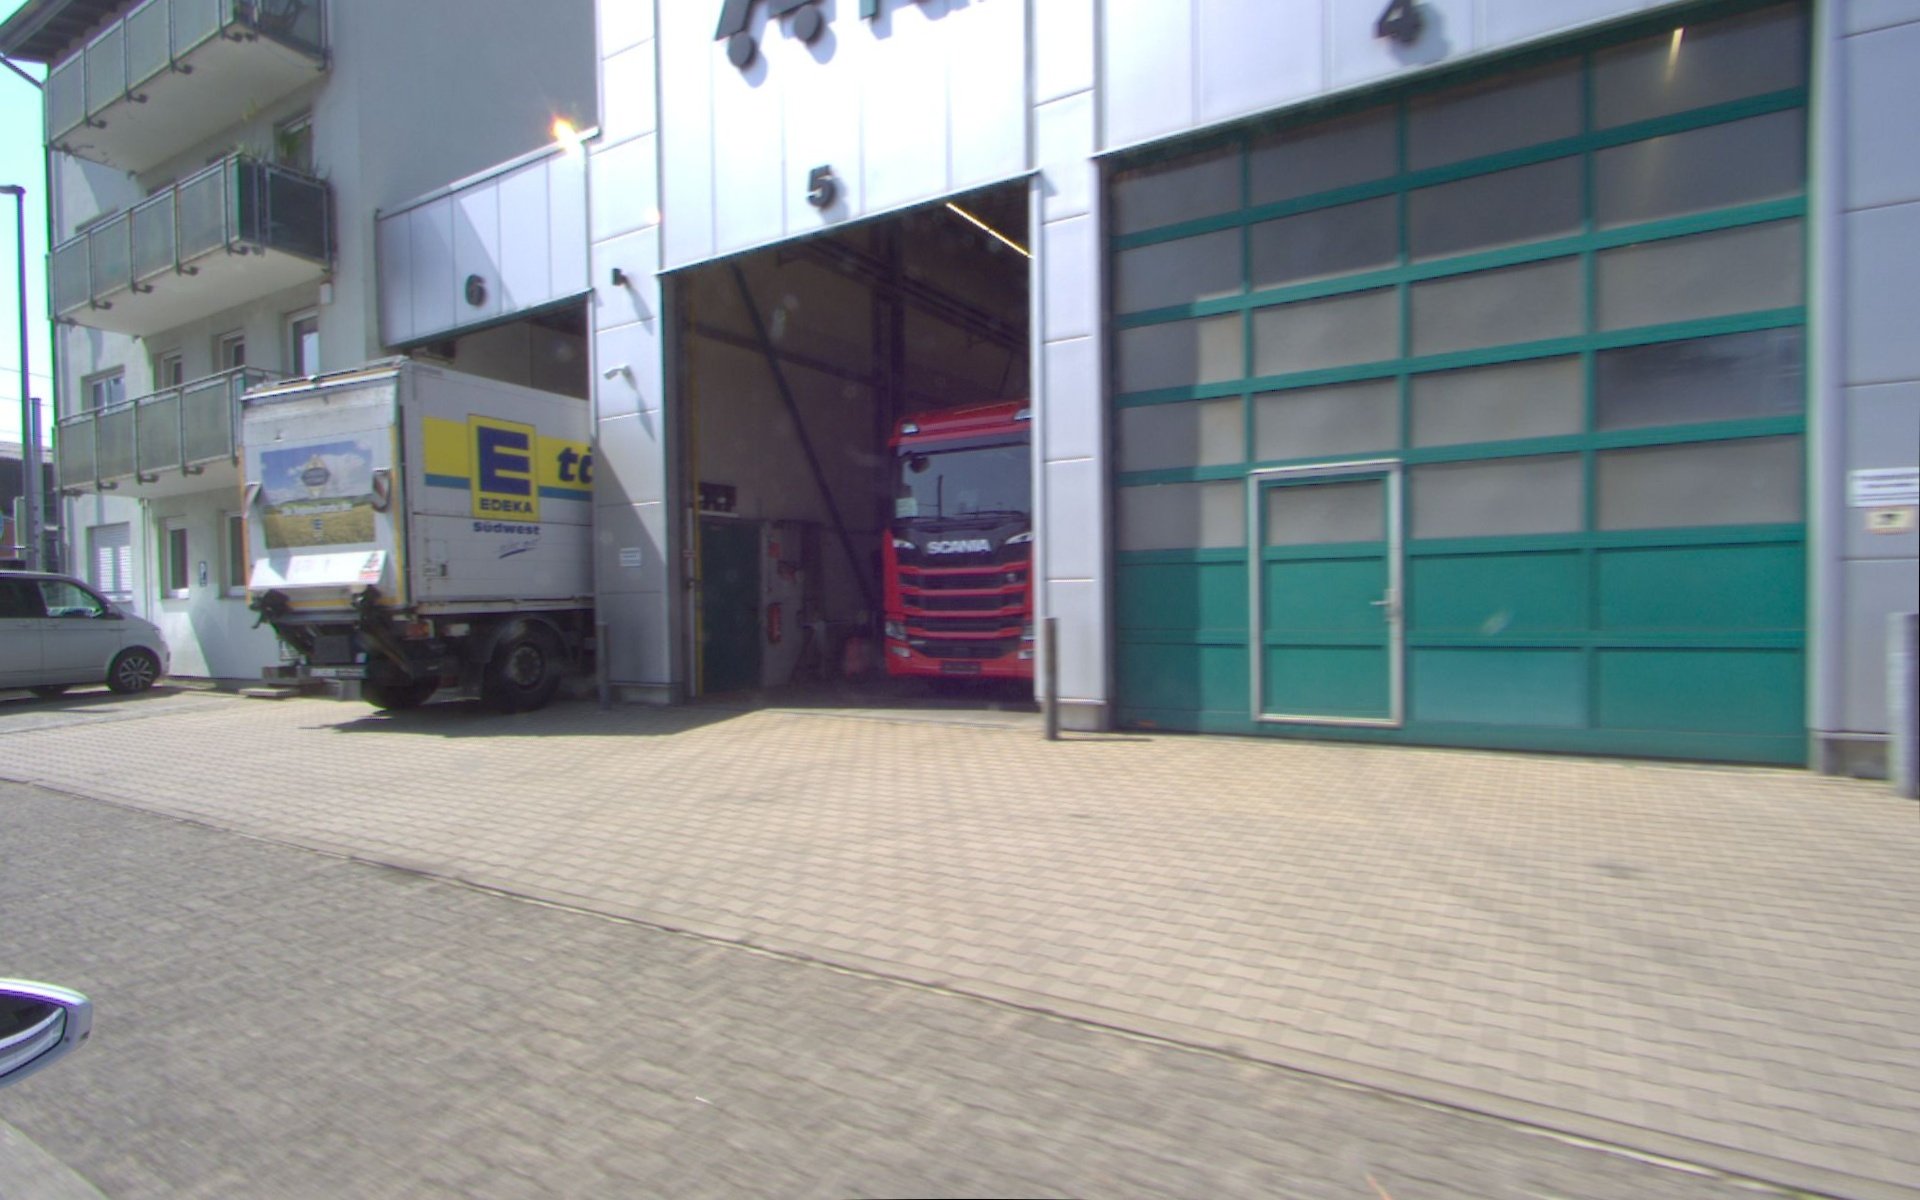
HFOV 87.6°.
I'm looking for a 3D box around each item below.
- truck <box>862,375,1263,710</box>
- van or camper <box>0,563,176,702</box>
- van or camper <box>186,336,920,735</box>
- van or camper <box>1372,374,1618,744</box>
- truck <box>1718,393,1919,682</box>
[{"bbox_3d":[2.018,-0.622,14.351,2.444,3.450,7.932,-1,1,32],"label":"truck"},{"bbox_3d":[-14.252,0.455,14.361,1.962,1.933,4.552,0,0,11],"label":"van or camper"},{"bbox_3d":[-4.459,-0.719,15.269,2.735,3.743,11.596,-1,1,24],"label":"van or camper"},{"bbox_3d":[6.128,-0.334,11.495,1.970,3.248,5.036,-1,0,29],"label":"van or camper"},{"bbox_3d":[13.811,-0.815,15.289,2.728,3.505,7.539,0,1,31],"label":"truck"}]
